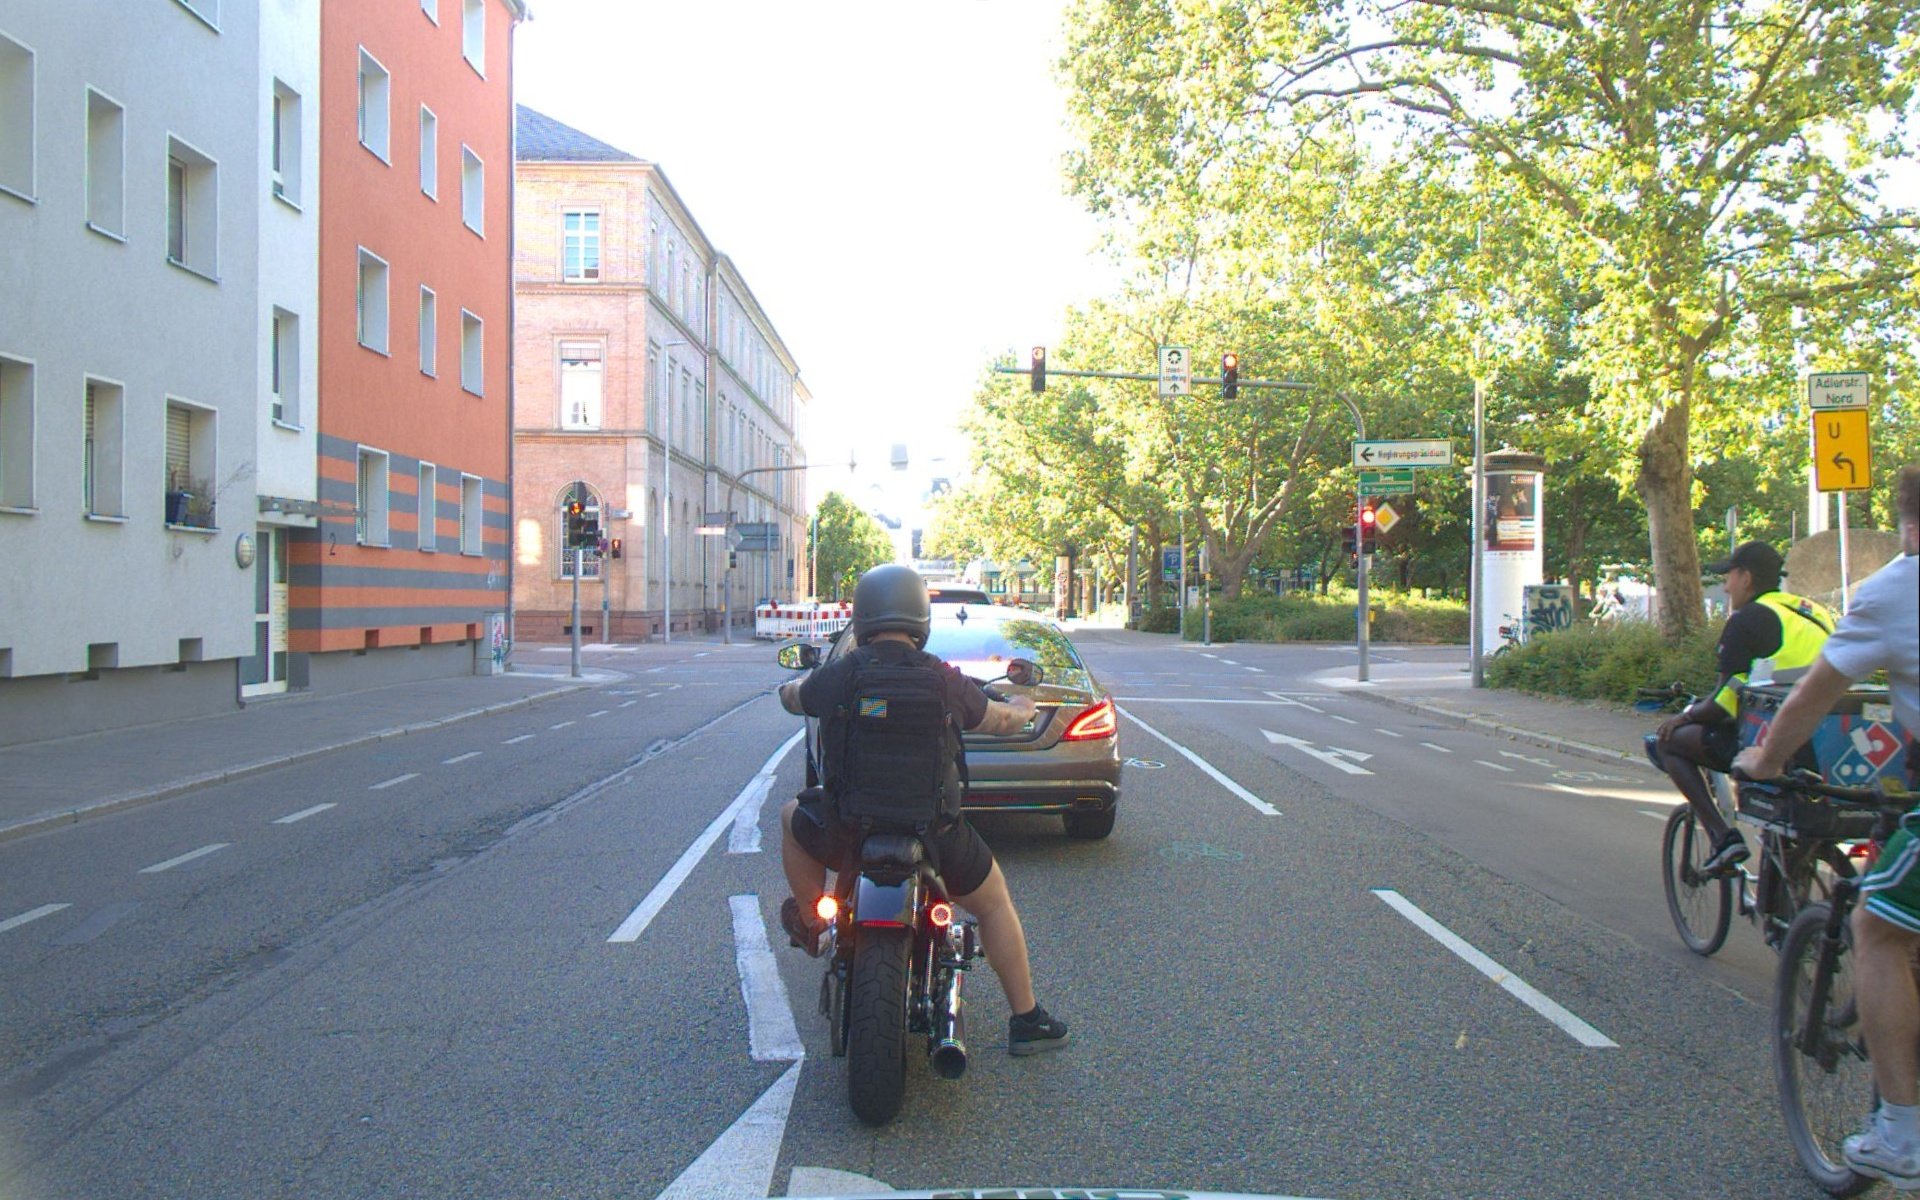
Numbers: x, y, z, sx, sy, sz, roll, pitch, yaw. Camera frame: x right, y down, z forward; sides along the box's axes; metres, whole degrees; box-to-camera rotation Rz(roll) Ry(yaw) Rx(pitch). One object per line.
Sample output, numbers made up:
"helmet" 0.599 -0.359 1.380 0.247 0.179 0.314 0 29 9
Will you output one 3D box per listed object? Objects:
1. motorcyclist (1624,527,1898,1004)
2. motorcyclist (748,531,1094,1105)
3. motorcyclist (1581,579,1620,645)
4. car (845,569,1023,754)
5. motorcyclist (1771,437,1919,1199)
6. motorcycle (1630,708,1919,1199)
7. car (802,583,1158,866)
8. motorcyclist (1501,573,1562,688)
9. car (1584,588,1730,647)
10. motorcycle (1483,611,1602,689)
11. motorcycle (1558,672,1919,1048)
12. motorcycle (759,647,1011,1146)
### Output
"motorcyclist" 3.149 0.620 6.561 0.702 1.773 0.751 1 -1 -1
"motorcyclist" -0.118 0.630 5.325 0.970 1.639 1.120 1 0 -1
"motorcyclist" 18.505 0.351 47.799 0.962 1.909 0.376 0 -1 3
"car" -0.263 0.574 17.212 1.618 1.681 3.999 1 0 -1
"motorcyclist" 2.327 0.588 3.438 0.814 1.820 0.913 1 -1 -1
"motorcycle" 2.327 0.903 3.699 0.845 1.189 1.929 1 0 -1
"car" -0.080 0.685 11.125 1.790 1.512 4.326 1 0 -7
"motorcyclist" 9.604 0.507 27.825 0.805 1.896 0.672 1 -1 4
"car" 21.996 0.537 52.294 3.907 1.803 1.737 0 0 -3
"motorcycle" 9.781 0.837 27.823 1.743 1.265 0.723 1 0 4
"motorcycle" 3.207 0.916 6.614 0.781 1.151 2.236 1 0 -1
"motorcycle" -0.213 0.815 5.415 0.646 1.261 2.057 1 0 -1
